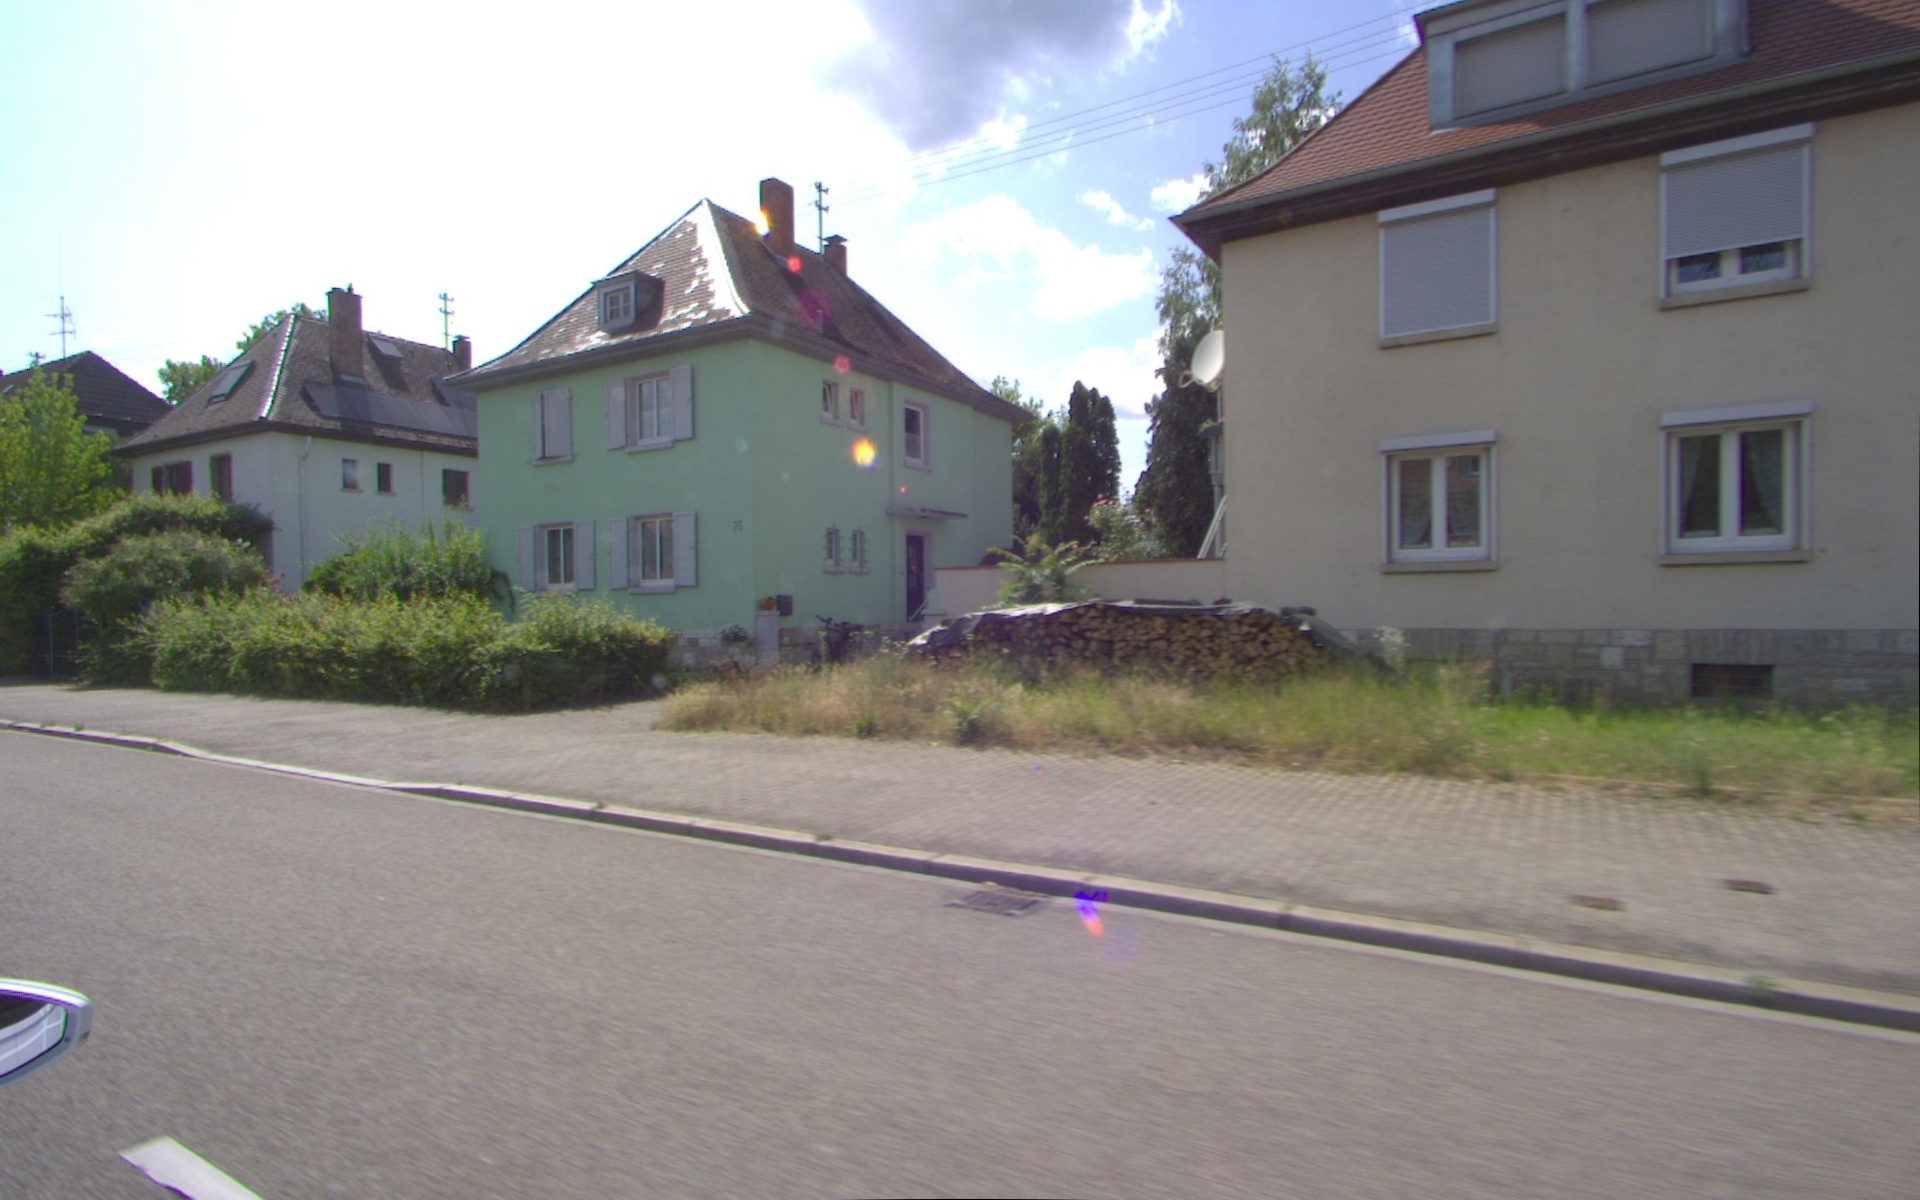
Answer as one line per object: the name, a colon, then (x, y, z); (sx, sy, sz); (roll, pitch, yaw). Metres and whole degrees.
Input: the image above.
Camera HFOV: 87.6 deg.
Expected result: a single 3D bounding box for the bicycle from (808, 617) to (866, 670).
bicycle: (-2.619, 0.908, 21.442); (0.412, 1.071, 1.596); (0, 0, 27)
